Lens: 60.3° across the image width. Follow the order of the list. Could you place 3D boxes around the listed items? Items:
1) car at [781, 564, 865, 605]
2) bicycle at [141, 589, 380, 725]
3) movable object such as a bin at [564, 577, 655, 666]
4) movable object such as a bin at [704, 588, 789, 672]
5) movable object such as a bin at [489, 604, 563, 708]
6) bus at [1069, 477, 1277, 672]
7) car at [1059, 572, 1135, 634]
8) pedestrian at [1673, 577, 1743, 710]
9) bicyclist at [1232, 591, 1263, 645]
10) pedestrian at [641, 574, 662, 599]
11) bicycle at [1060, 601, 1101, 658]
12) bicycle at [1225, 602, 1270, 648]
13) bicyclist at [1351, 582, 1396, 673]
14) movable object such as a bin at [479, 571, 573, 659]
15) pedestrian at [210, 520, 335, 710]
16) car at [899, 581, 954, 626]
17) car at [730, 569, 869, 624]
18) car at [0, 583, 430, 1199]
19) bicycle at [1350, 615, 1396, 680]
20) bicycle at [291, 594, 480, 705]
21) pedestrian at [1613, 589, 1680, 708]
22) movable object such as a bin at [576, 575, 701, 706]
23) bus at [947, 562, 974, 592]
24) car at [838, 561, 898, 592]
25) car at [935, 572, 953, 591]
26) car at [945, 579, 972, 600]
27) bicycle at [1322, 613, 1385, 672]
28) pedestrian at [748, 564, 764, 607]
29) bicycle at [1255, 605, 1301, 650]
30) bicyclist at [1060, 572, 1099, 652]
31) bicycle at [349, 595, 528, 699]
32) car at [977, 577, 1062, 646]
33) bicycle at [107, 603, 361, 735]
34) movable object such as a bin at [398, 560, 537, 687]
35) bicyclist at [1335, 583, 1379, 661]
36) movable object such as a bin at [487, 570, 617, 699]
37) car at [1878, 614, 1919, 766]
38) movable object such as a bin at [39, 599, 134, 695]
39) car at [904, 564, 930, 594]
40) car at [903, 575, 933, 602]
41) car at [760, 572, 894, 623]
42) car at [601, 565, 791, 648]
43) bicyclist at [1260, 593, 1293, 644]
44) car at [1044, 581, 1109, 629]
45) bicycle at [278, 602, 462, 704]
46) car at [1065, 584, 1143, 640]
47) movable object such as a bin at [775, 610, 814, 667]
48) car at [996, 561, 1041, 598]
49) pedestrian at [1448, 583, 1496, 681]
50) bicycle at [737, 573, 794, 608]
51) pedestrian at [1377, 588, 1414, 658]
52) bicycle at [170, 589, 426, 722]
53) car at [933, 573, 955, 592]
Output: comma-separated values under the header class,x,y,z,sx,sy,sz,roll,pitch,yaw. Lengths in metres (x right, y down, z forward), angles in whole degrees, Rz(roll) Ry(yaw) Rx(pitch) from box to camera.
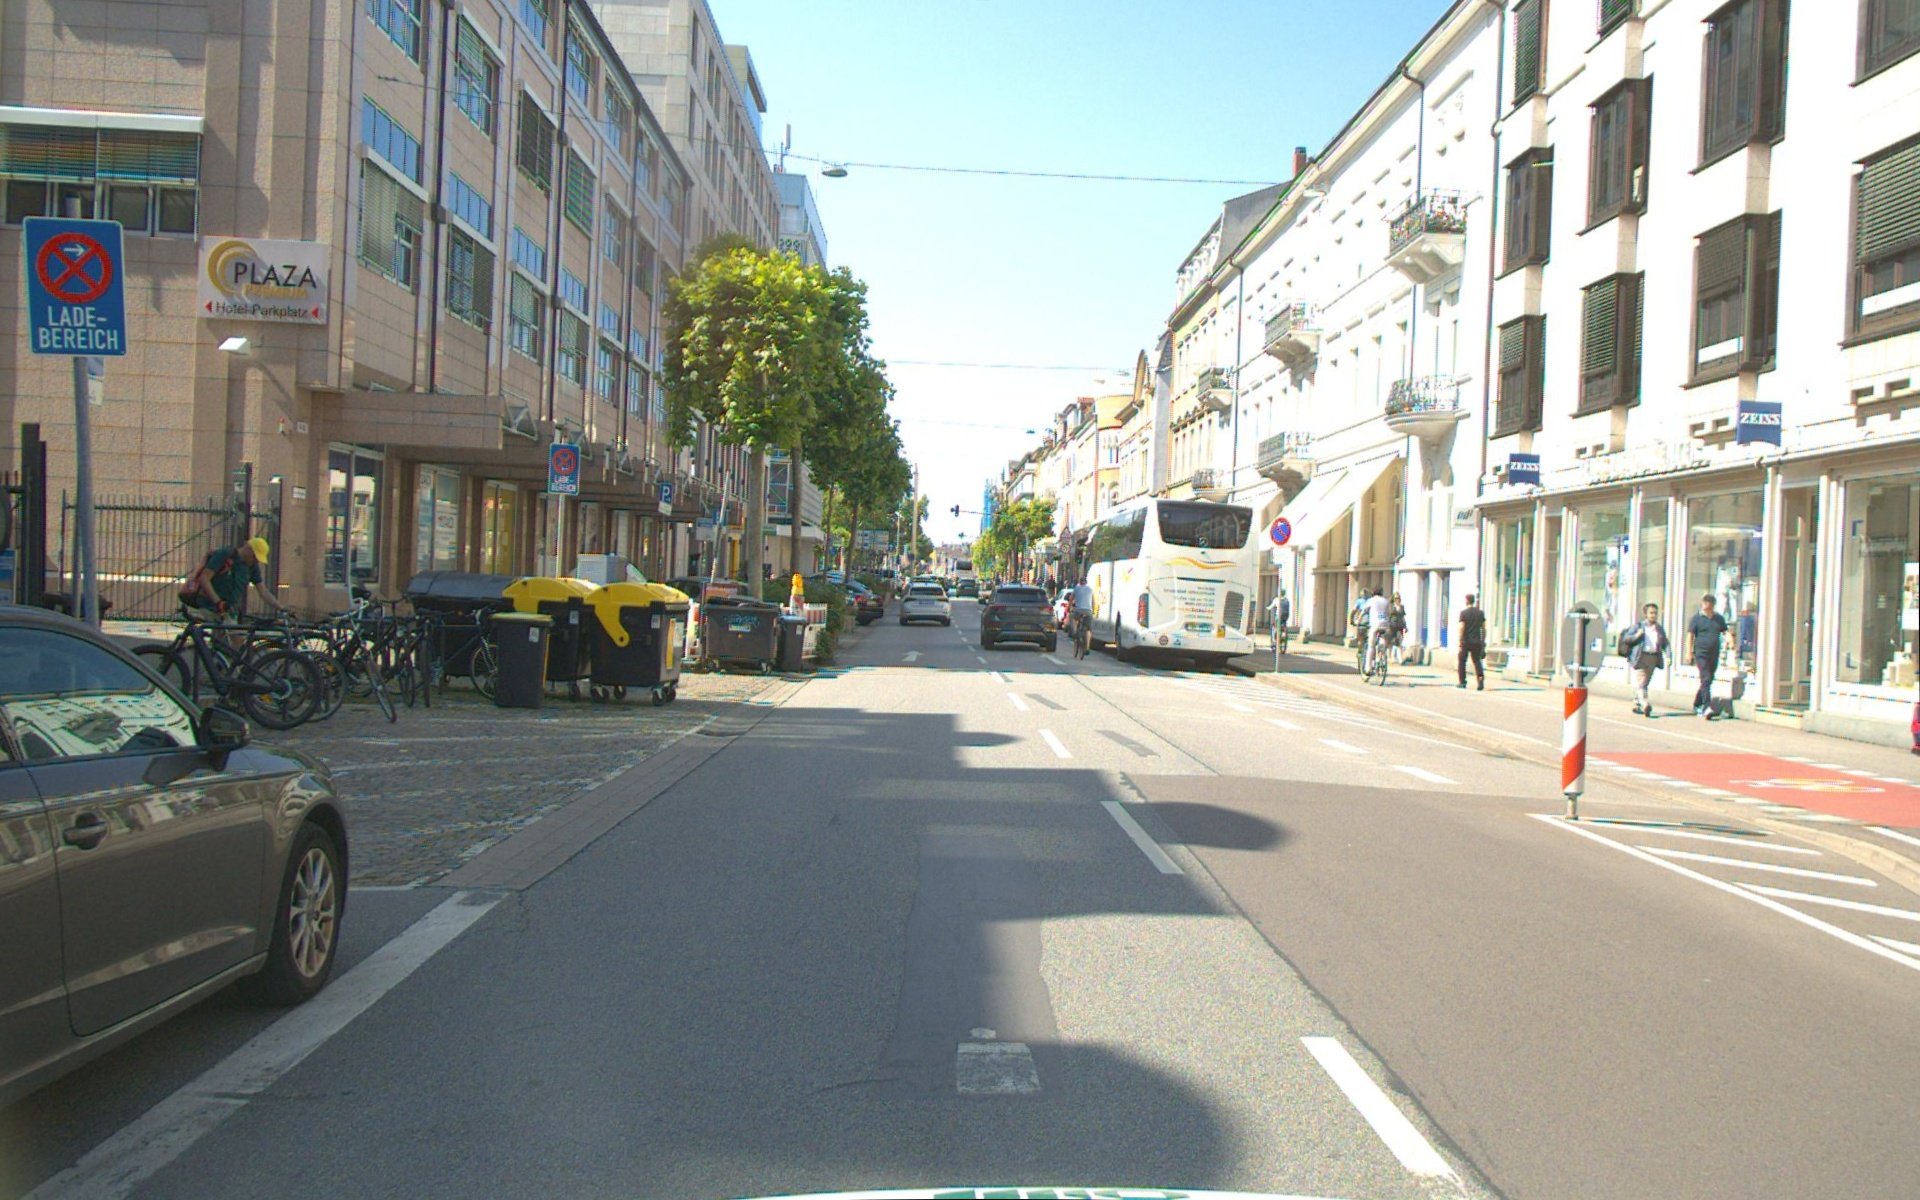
class,x,y,z,sx,sy,sz,roll,pitch,yaw
car,-6.603,-0.756,79.823,3.911,1.525,1.716,6,0,-5
bicycle,-6.579,0.535,15.637,1.926,1.140,0.555,4,-1,-13
movable object such as a bin,-5.734,0.339,27.120,1.184,1.321,1.080,4,2,-1
movable object such as a bin,-3.518,0.486,27.341,1.251,1.322,0.853,2,0,-1
movable object such as a bin,-5.023,0.644,19.176,0.709,1.117,0.655,3,1,-9
bus,4.788,-0.602,40.198,2.824,3.806,12.422,4,1,-2
car,4.597,0.059,56.121,1.791,1.895,4.351,4,1,-5
pedestrian,10.940,0.629,24.215,0.679,1.883,0.836,2,-1,7
bicyclist,7.529,0.465,43.318,0.608,1.394,0.780,2,0,-3
pedestrian,-11.141,-0.492,59.740,0.554,0.822,0.774,7,1,-1
bicycle,2.673,0.637,36.923,0.651,1.139,2.243,4,1,-1
bicycle,7.523,0.633,43.372,0.608,1.118,2.351,3,0,-3
bicyclist,7.726,0.511,30.933,0.679,1.654,0.836,2,0,7
movable object such as a bin,-7.100,0.228,27.130,1.184,1.322,1.127,4,1,-1
pedestrian,-6.590,0.139,15.893,0.872,1.755,0.747,2,0,-8
car,-1.204,0.120,58.783,1.825,1.466,3.999,2,0,-1
car,-5.429,-0.139,55.527,4.673,1.559,1.979,4,1,42
car,-3.074,0.678,4.510,1.897,1.378,4.249,2,1,-1
bicycle,7.775,0.881,31.186,0.582,1.140,1.802,2,1,7
bicycle,-6.667,0.571,19.266,1.936,1.140,0.508,4,-1,-5
pedestrian,10.165,0.705,24.500,0.679,1.715,0.836,2,0,7
movable object such as a bin,-3.978,0.476,20.610,1.100,1.475,1.439,4,2,5
bus,0.041,-2.992,212.416,2.715,3.667,8.967,2,1,-4
car,-7.458,-1.870,133.390,4.638,2.037,1.932,6,0,39
car,-1.690,-1.922,175.361,1.825,1.882,3.998,1,-1,-2
car,-0.126,-0.762,123.424,1.825,1.466,3.999,2,1,-2
bicycle,8.127,0.870,34.283,0.608,1.118,2.351,3,0,-3
pedestrian,-8.020,-0.573,65.065,0.555,1.686,0.636,2,0,-6
bicycle,8.423,0.714,43.894,0.608,1.118,2.351,3,0,-3
bicyclist,2.663,0.262,36.926,0.680,1.702,0.916,4,2,0
bicycle,-6.253,0.561,19.905,1.929,1.140,0.508,3,-1,-5
car,1.413,0.255,40.737,1.796,1.554,3.999,2,0,-1
bicycle,-6.507,0.616,14.916,1.928,1.035,0.669,4,-1,-13
movable object such as a bin,-6.201,0.268,20.903,1.183,1.475,1.365,4,2,5
bicyclist,8.217,0.449,34.235,0.608,1.556,0.869,2,0,-3
movable object such as a bin,-5.078,0.404,20.692,1.100,1.475,1.439,4,2,5
car,11.589,0.950,16.397,3.961,1.521,1.841,2,-2,0
movable object such as a bin,-8.323,0.449,15.774,0.642,0.891,0.510,1,-1,-9
car,-3.192,-1.537,122.080,1.825,2.065,3.998,2,-1,-2
car,-2.471,-0.704,97.620,1.708,1.466,3.999,2,1,-2
car,-4.738,-0.105,58.520,4.709,1.447,1.874,5,2,39
car,-5.763,0.120,35.940,3.984,1.520,1.925,4,2,40
bicyclist,8.418,0.485,44.028,0.608,1.319,0.866,2,0,-3
car,4.290,0.162,61.574,1.777,1.491,4.578,4,2,-4
bicycle,-6.532,0.590,18.375,1.807,1.092,0.556,1,-2,-5
car,4.345,0.325,50.578,1.821,1.495,5.225,4,1,0
movable object such as a bin,-2.893,0.664,28.887,0.547,0.955,0.496,0,1,-27
car,2.607,-0.911,74.470,1.796,1.554,3.998,1,-1,-2
pedestrian,9.361,0.583,30.269,0.607,1.750,0.835,2,-2,1
bicycle,-7.367,-0.374,62.669,2.023,1.150,0.618,5,0,0
pedestrian,10.411,0.548,39.531,0.632,1.645,0.822,2,-1,2
bicycle,-6.482,0.546,16.295,2.197,1.140,0.555,4,-1,-13
car,-1.360,-1.480,141.886,1.825,1.466,3.998,1,-1,-2
